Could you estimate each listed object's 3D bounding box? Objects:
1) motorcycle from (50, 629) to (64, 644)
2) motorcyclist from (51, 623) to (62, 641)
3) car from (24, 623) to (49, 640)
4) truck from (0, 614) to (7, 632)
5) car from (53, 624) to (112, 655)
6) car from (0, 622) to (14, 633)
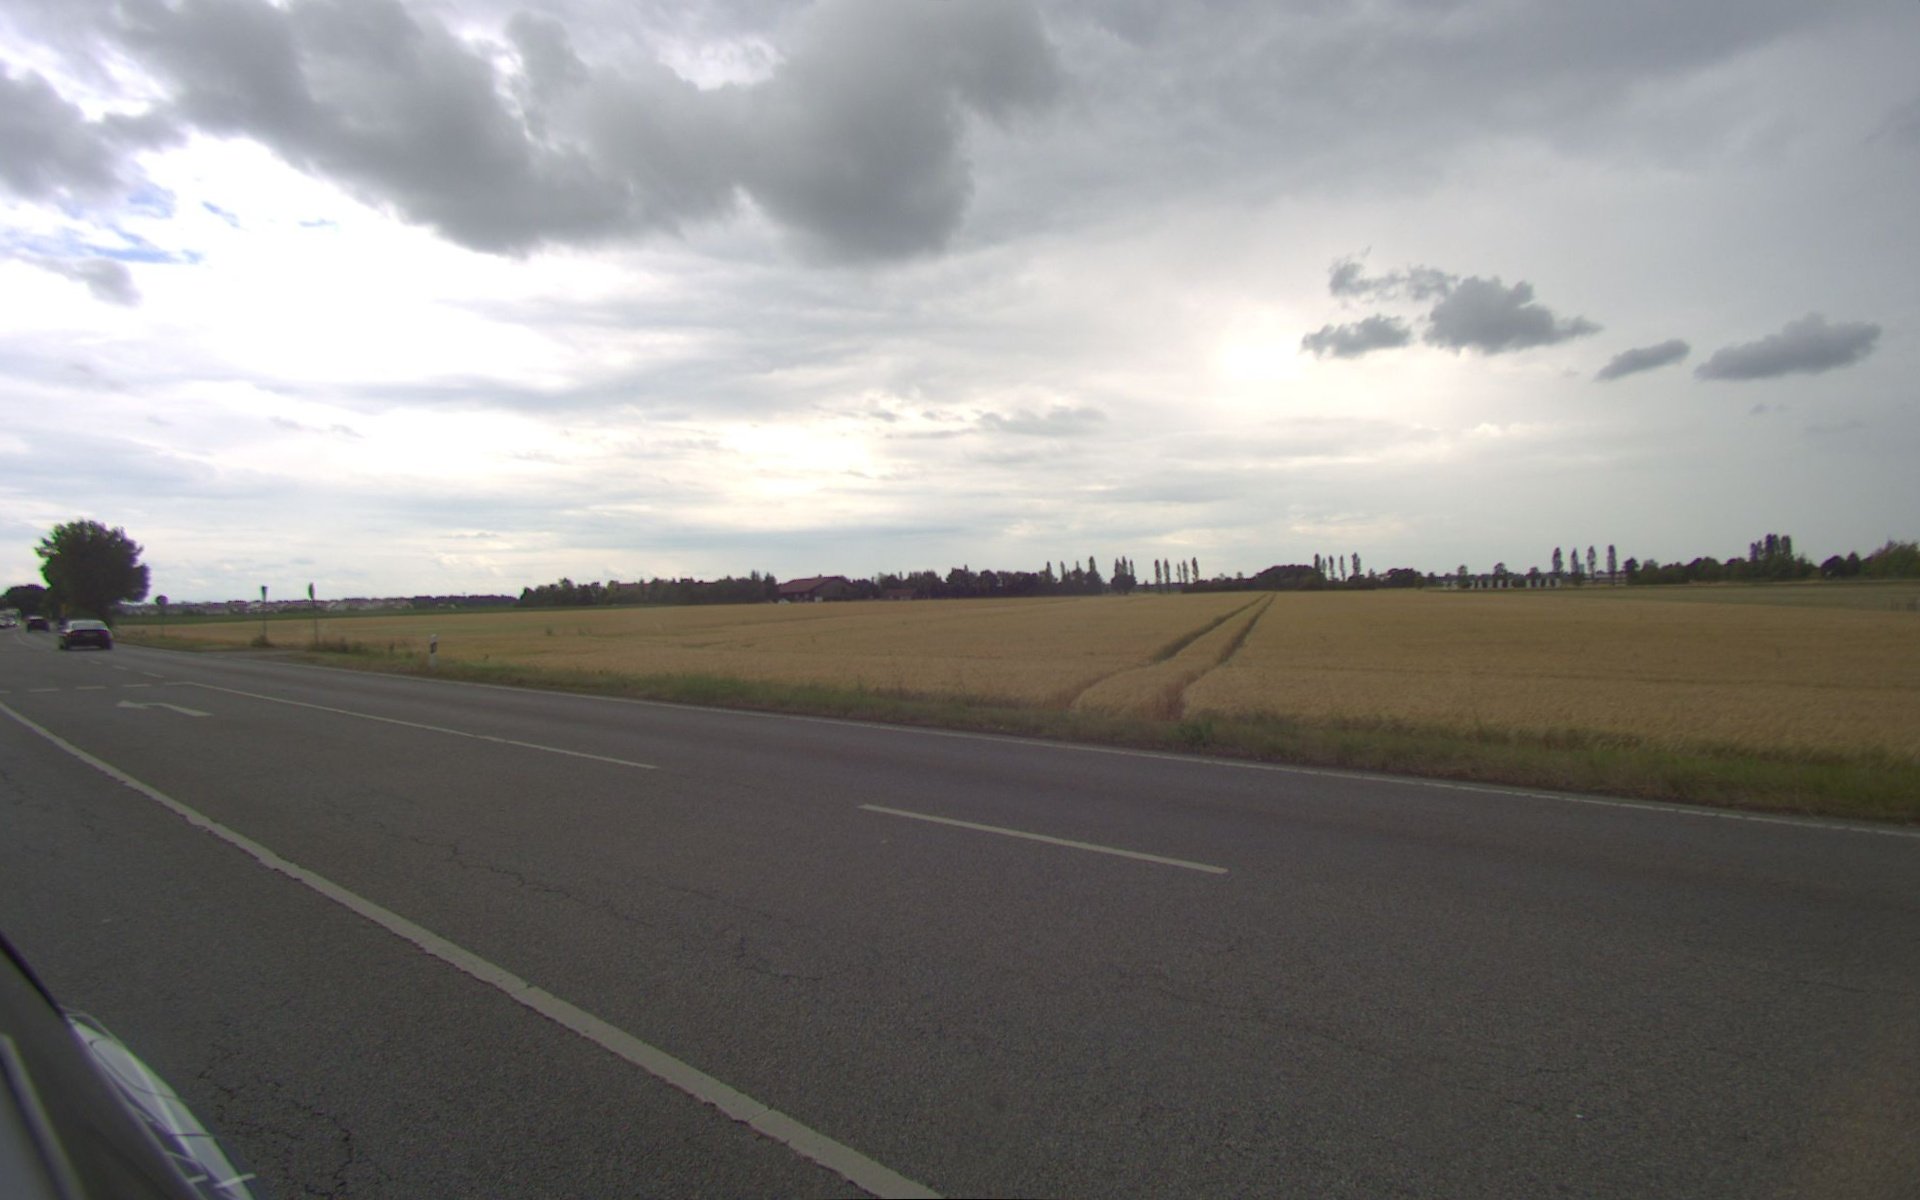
[{"bbox_3d":[-72.487,2.925,81.234,0.717,1.157,2.026,0,-1,-44],"label":"motorcycle"},{"bbox_3d":[-72.499,2.542,81.247,0.632,1.394,0.810,0,-1,-44],"label":"motorcyclist"},{"bbox_3d":[-101.381,3.447,111.108,1.924,1.707,4.450,0,-1,-43],"label":"car"},{"bbox_3d":[-148.029,3.552,155.244,7.675,2.786,2.288,-1,0,44],"label":"truck"},{"bbox_3d":[-42.625,1.900,49.111,4.425,1.421,1.806,-2,-2,44],"label":"car"},{"bbox_3d":[-133.722,3.859,141.437,1.766,1.551,4.145,0,-1,-38],"label":"car"}]
